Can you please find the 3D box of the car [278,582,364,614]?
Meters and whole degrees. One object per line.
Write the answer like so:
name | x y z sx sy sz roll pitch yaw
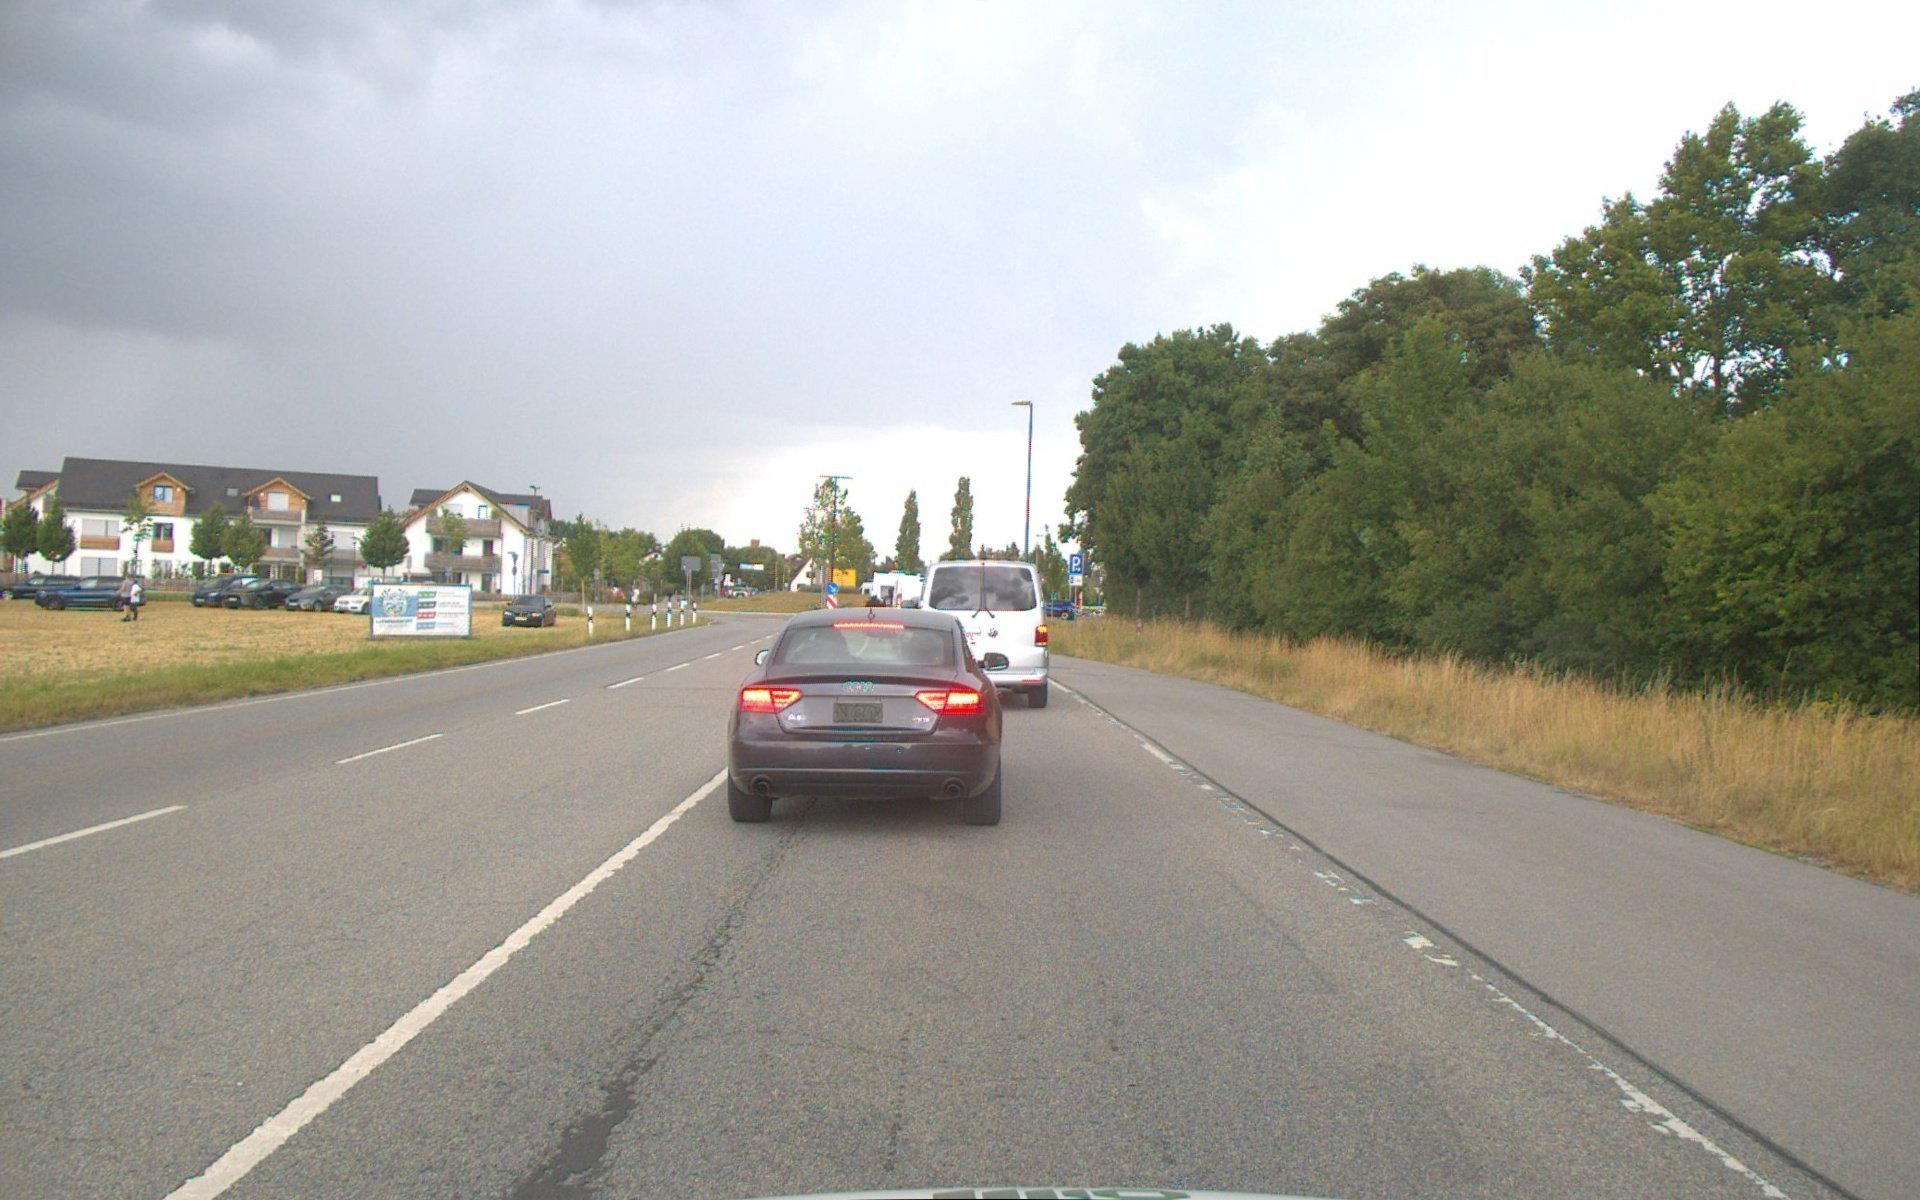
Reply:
car | -33.237 -0.101 86.116 1.952 1.562 4.213 1 0 18

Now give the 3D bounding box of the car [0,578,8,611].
car | -46.527 -0.303 76.415 4.095 1.545 1.988 2 0 -21

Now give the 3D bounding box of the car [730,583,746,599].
car | -29.333 -1.171 218.409 1.956 2.049 3.993 2 0 -7

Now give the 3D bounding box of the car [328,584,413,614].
car | -30.527 -0.050 85.725 1.952 1.471 4.213 1 0 18

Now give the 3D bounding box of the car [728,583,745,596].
car | -30.638 -1.397 226.869 1.954 1.670 3.996 2 0 -4

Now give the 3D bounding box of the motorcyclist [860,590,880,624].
motorcyclist | -3.782 0.299 69.627 0.769 1.380 0.854 2 0 0

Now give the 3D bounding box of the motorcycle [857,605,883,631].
motorcycle | -3.781 0.755 69.663 0.925 1.037 2.284 2 0 0

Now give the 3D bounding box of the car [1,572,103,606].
car | -49.451 -0.588 90.129 4.558 1.727 1.988 2 0 -21

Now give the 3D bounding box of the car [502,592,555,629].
car | -19.025 0.454 73.005 1.958 1.467 3.990 2 1 -11

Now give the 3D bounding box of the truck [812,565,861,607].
truck | -11.643 -1.331 155.584 3.511 3.640 9.933 2 0 -10

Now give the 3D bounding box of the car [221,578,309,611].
car | -36.333 -0.264 86.547 1.952 1.657 4.213 1 0 18

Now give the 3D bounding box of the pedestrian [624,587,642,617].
pedestrian | -17.710 0.121 89.564 0.686 1.613 0.657 1 0 22

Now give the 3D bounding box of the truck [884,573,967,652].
truck | -0.911 0.328 46.537 2.149 2.049 5.084 2 0 0

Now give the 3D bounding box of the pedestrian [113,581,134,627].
pedestrian | -33.485 0.158 66.198 0.538 1.817 0.676 1 0 -12

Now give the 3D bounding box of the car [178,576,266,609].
car | -39.594 -0.378 88.847 1.952 1.657 4.213 1 0 18

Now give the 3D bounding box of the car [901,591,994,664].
car | -0.299 0.587 37.405 1.953 1.511 3.999 1 0 -1

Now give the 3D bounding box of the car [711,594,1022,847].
car | -0.542 0.711 11.978 1.836 1.479 4.177 1 0 0

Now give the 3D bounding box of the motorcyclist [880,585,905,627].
motorcyclist | -2.295 0.203 55.969 0.756 1.407 0.820 2 0 1

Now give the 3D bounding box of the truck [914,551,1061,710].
truck | 0.360 0.388 23.918 1.865 2.033 4.628 2 0 0

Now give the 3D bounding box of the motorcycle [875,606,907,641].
motorcycle | -2.330 0.791 56.012 0.901 1.113 2.189 2 0 2

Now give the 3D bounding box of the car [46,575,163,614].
car | -40.717 -0.261 78.835 4.647 1.727 1.988 2 0 -21

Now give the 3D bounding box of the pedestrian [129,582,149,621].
pedestrian | -33.461 0.060 67.408 0.580 1.582 0.622 2 0 -19

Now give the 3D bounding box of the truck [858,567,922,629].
truck | -3.477 -0.096 80.721 2.576 2.785 5.858 2 0 -7

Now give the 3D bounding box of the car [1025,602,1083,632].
car | 7.078 1.273 124.109 3.905 2.049 2.000 2 0 20
